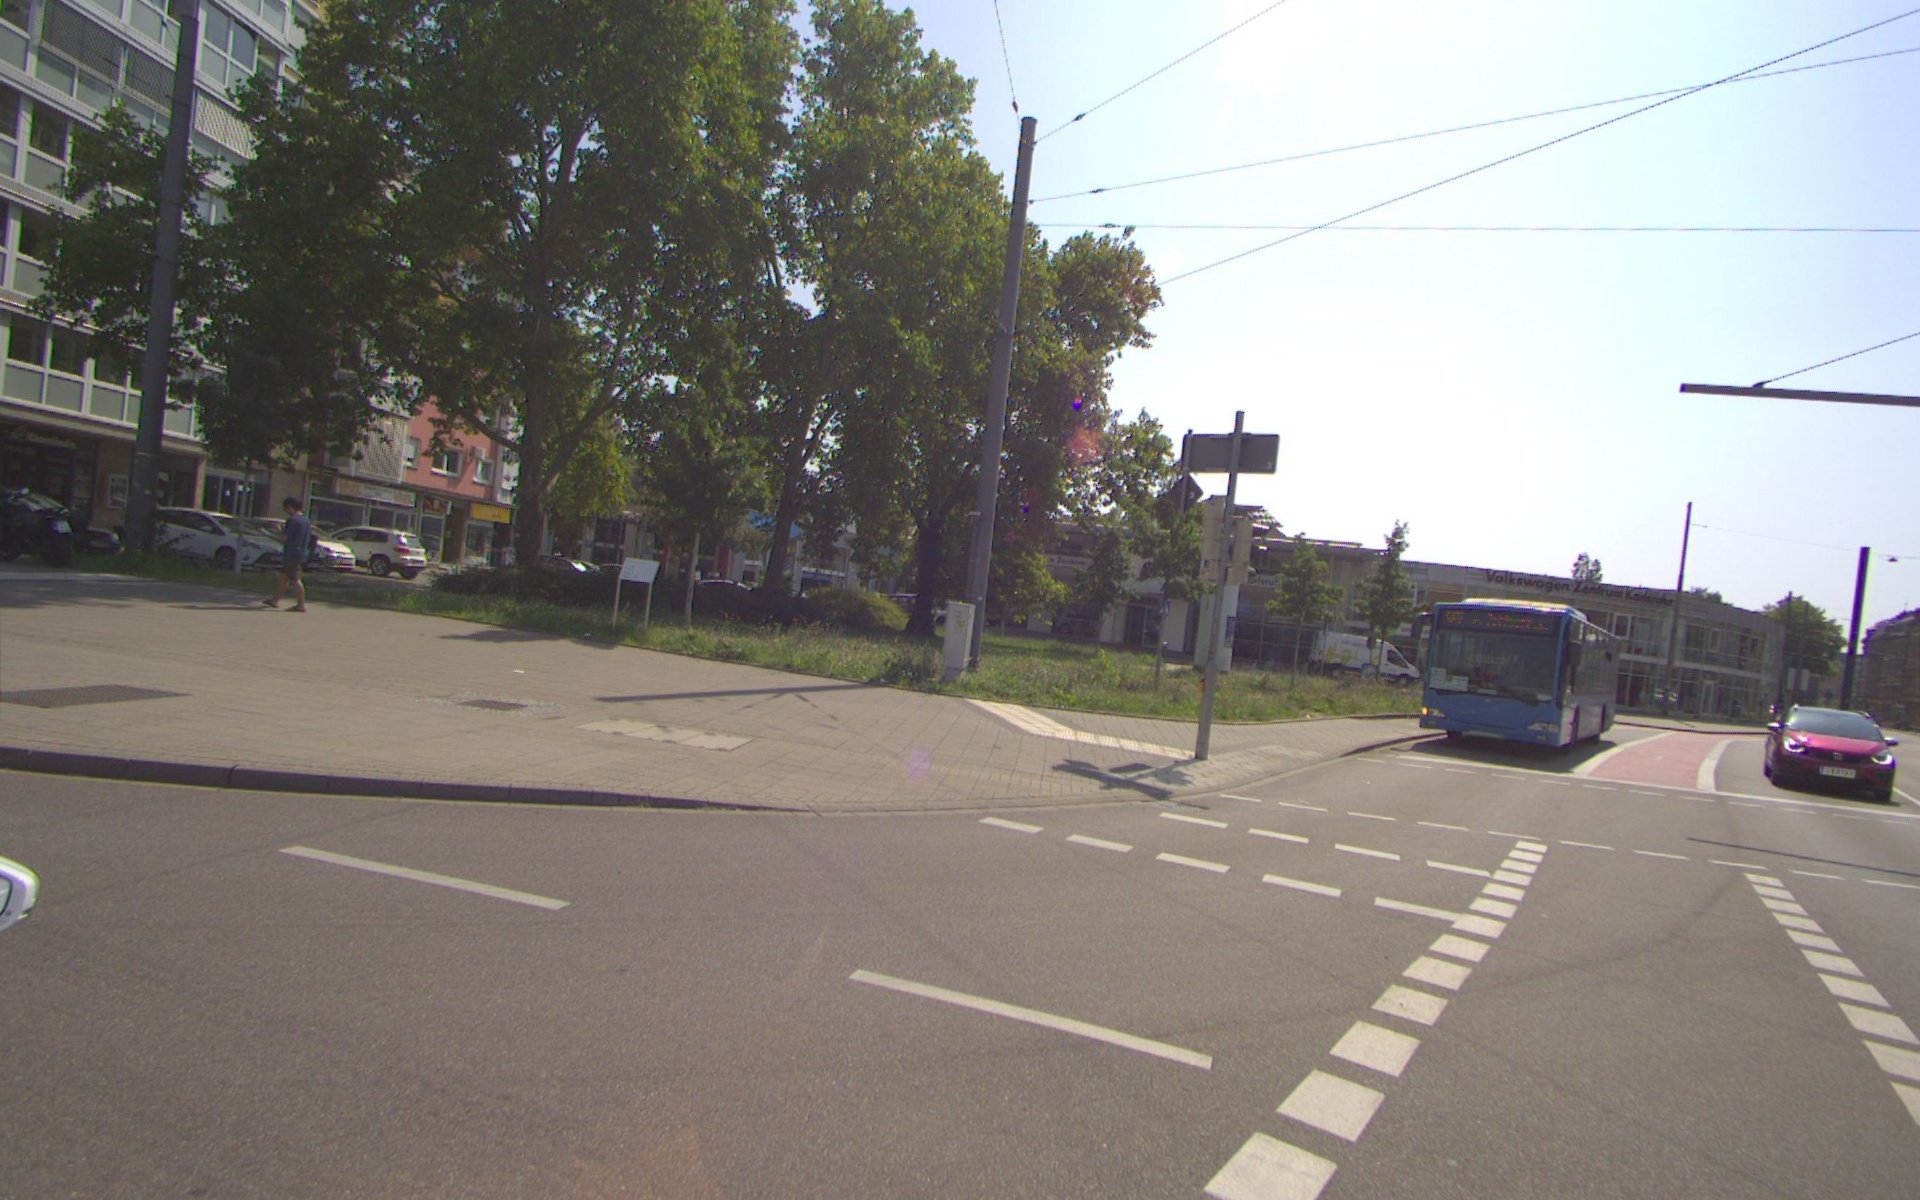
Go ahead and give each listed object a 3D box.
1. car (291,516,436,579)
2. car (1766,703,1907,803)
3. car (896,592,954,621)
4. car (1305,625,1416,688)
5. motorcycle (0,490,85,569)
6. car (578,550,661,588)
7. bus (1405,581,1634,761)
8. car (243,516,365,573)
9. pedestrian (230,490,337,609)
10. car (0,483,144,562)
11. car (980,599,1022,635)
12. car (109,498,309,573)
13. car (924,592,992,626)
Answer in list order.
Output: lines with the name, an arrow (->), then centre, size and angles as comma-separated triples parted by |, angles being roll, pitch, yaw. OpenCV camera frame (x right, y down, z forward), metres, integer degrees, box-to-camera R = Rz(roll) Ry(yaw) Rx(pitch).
car -> -21.259, -1.850, 35.946 | 3.997, 1.687, 1.790 | 7, 1, 2
car -> 16.745, 2.845, 19.383 | 1.605, 1.490, 3.759 | 6, -1, 36
car -> -2.406, 0.457, 70.397 | 1.968, 1.527, 3.988 | 8, 0, 34
car -> 22.163, 3.119, 55.831 | 5.120, 2.616, 1.848 | 9, 1, 4
motorcycle -> -15.965, -1.238, 16.888 | 2.072, 1.151, 0.912 | 7, 1, 17
car -> -19.625, -1.774, 58.068 | 3.997, 1.687, 1.790 | 7, 1, 2
bus -> 13.884, 1.788, 24.171 | 2.693, 3.102, 12.036 | 8, 0, 38
car -> -21.758, -1.825, 33.417 | 3.040, 1.446, 1.403 | 7, 1, 2
pedestrian -> -10.087, -0.731, 15.030 | 0.932, 1.630, 0.793 | 6, 1, 2
car -> -21.931, -1.927, 23.475 | 4.167, 1.489, 1.906 | 7, 0, 2
car -> 2.802, 1.124, 70.824 | 2.292, 2.038, 6.805 | 9, 0, -1
car -> -21.202, -1.790, 28.520 | 4.167, 1.489, 1.906 | 7, 0, 2
car -> -0.120, 0.618, 67.450 | 4.221, 1.775, 1.699 | 7, 1, -36
